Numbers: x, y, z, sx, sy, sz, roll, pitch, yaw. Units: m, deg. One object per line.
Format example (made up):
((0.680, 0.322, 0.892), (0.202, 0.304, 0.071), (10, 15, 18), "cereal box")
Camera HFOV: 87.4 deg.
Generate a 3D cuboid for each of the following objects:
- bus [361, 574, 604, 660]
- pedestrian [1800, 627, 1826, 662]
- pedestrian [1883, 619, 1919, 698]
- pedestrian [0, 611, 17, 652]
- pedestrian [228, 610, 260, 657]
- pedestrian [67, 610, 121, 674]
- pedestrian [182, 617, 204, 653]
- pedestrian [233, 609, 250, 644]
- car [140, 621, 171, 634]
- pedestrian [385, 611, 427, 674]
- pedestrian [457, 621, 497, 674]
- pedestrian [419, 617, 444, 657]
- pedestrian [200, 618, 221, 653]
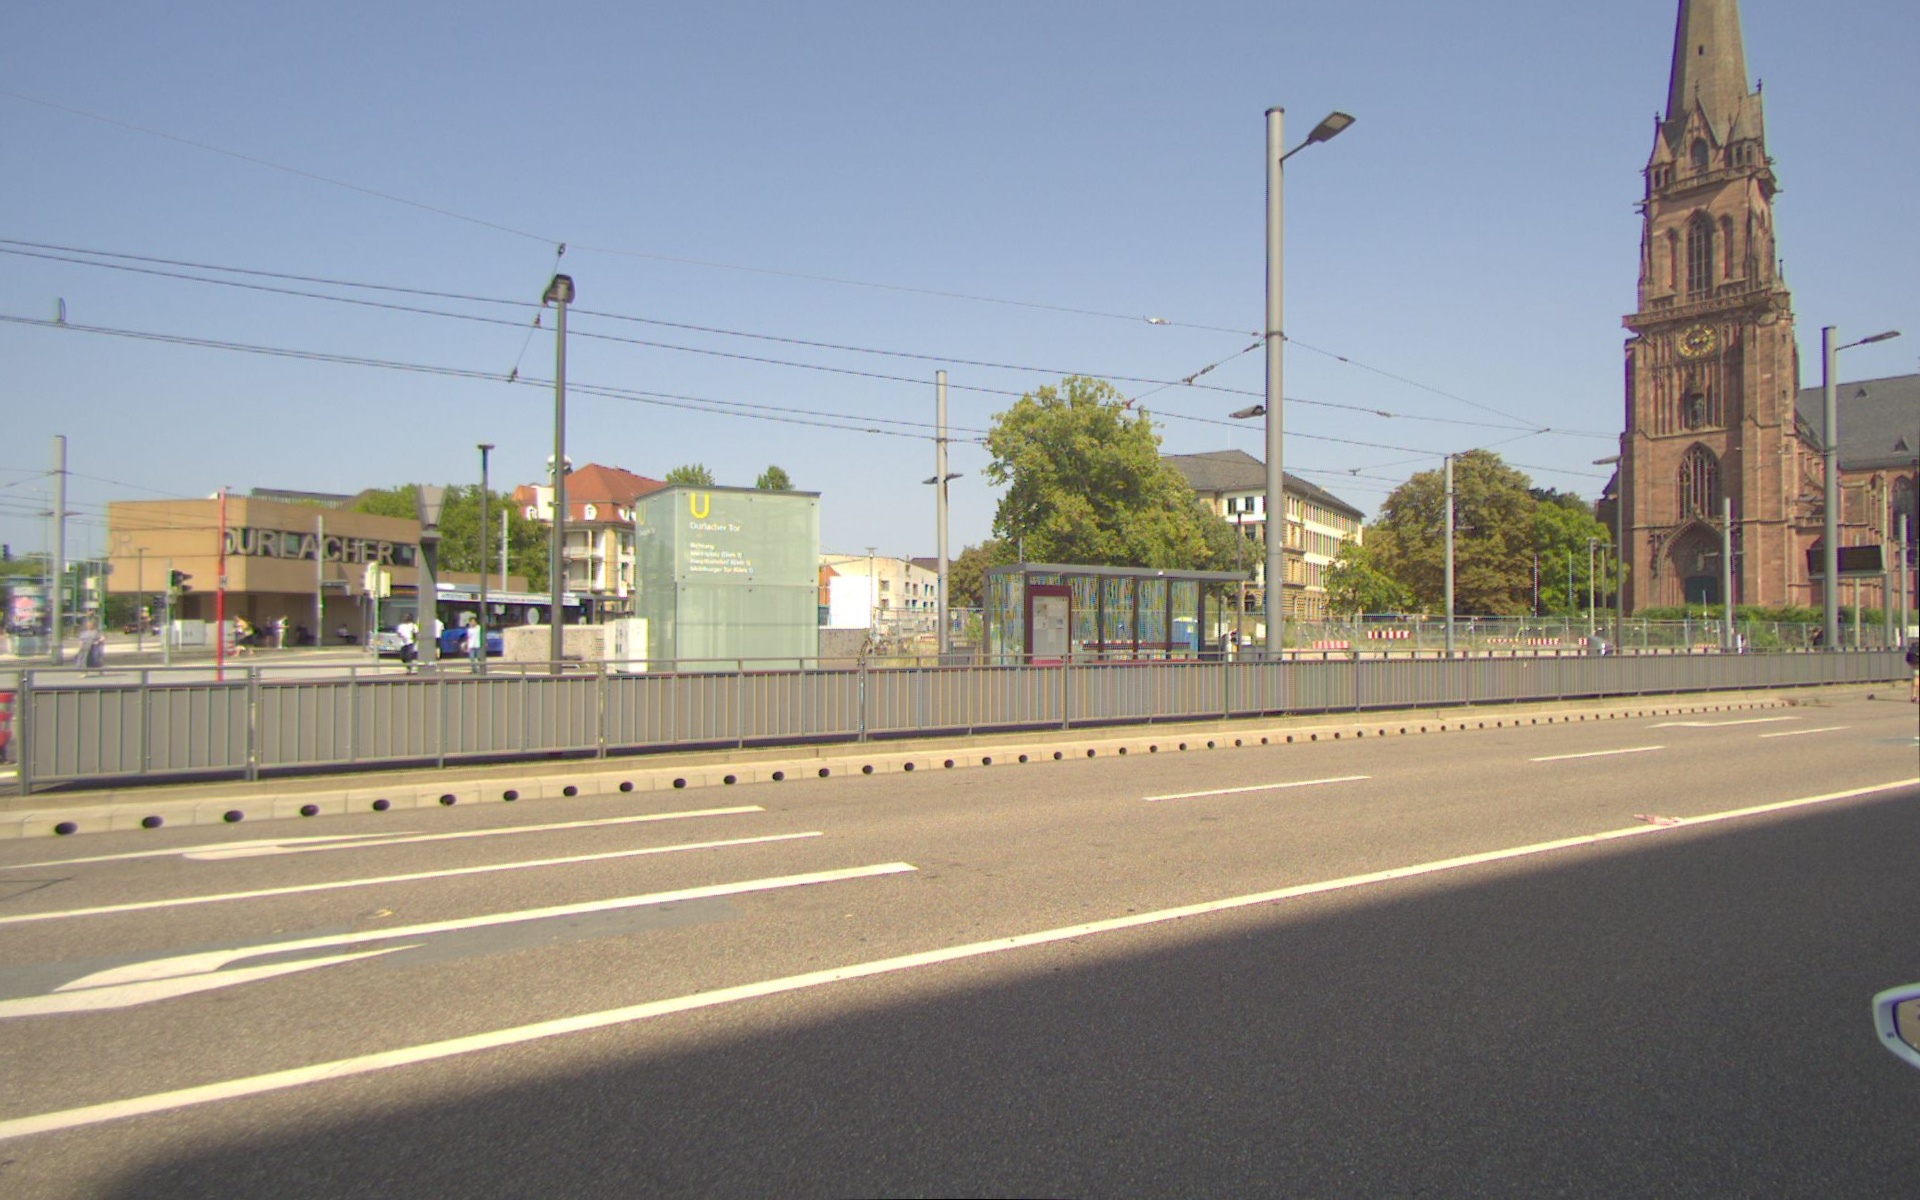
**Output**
((-21.153, 0.801, 46.010), (2.623, 3.375, 12.766), (0, -1, 14), "bus")
((43.875, 2.307, 51.652), (0.712, 1.775, 0.825), (2, -2, -29), "pedestrian")
((21.882, 1.332, 22.883), (1.049, 1.775, 0.763), (1, -2, -6), "pedestrian")
((-43.396, 1.416, 45.670), (0.549, 1.840, 0.561), (-1, -1, 18), "pedestrian")
((-28.067, 1.323, 39.407), (0.775, 1.803, 0.954), (2, -2, -24), "pedestrian")
((-24.831, 1.209, 28.807), (0.947, 1.803, 0.780), (2, -2, -27), "pedestrian")
((-36.772, 1.679, 48.163), (0.567, 1.698, 0.587), (-2, 0, 16), "pedestrian")
((-35.204, 1.284, 49.205), (0.564, 1.667, 0.508), (-1, 0, -27), "pedestrian")
((-108.888, 3.725, 136.022), (1.874, 1.675, 4.637), (0, -2, -19), "car")
((-15.627, 1.186, 28.360), (0.768, 1.751, 0.679), (0, -1, 10), "pedestrian")
((-14.414, 1.409, 29.986), (0.768, 1.569, 0.679), (1, -1, 10), "pedestrian")
((-20.770, 1.456, 39.460), (0.588, 1.549, 0.577), (1, -2, 6), "pedestrian")
((-36.567, 1.739, 49.000), (0.567, 1.698, 0.587), (-2, 0, 16), "pedestrian")
